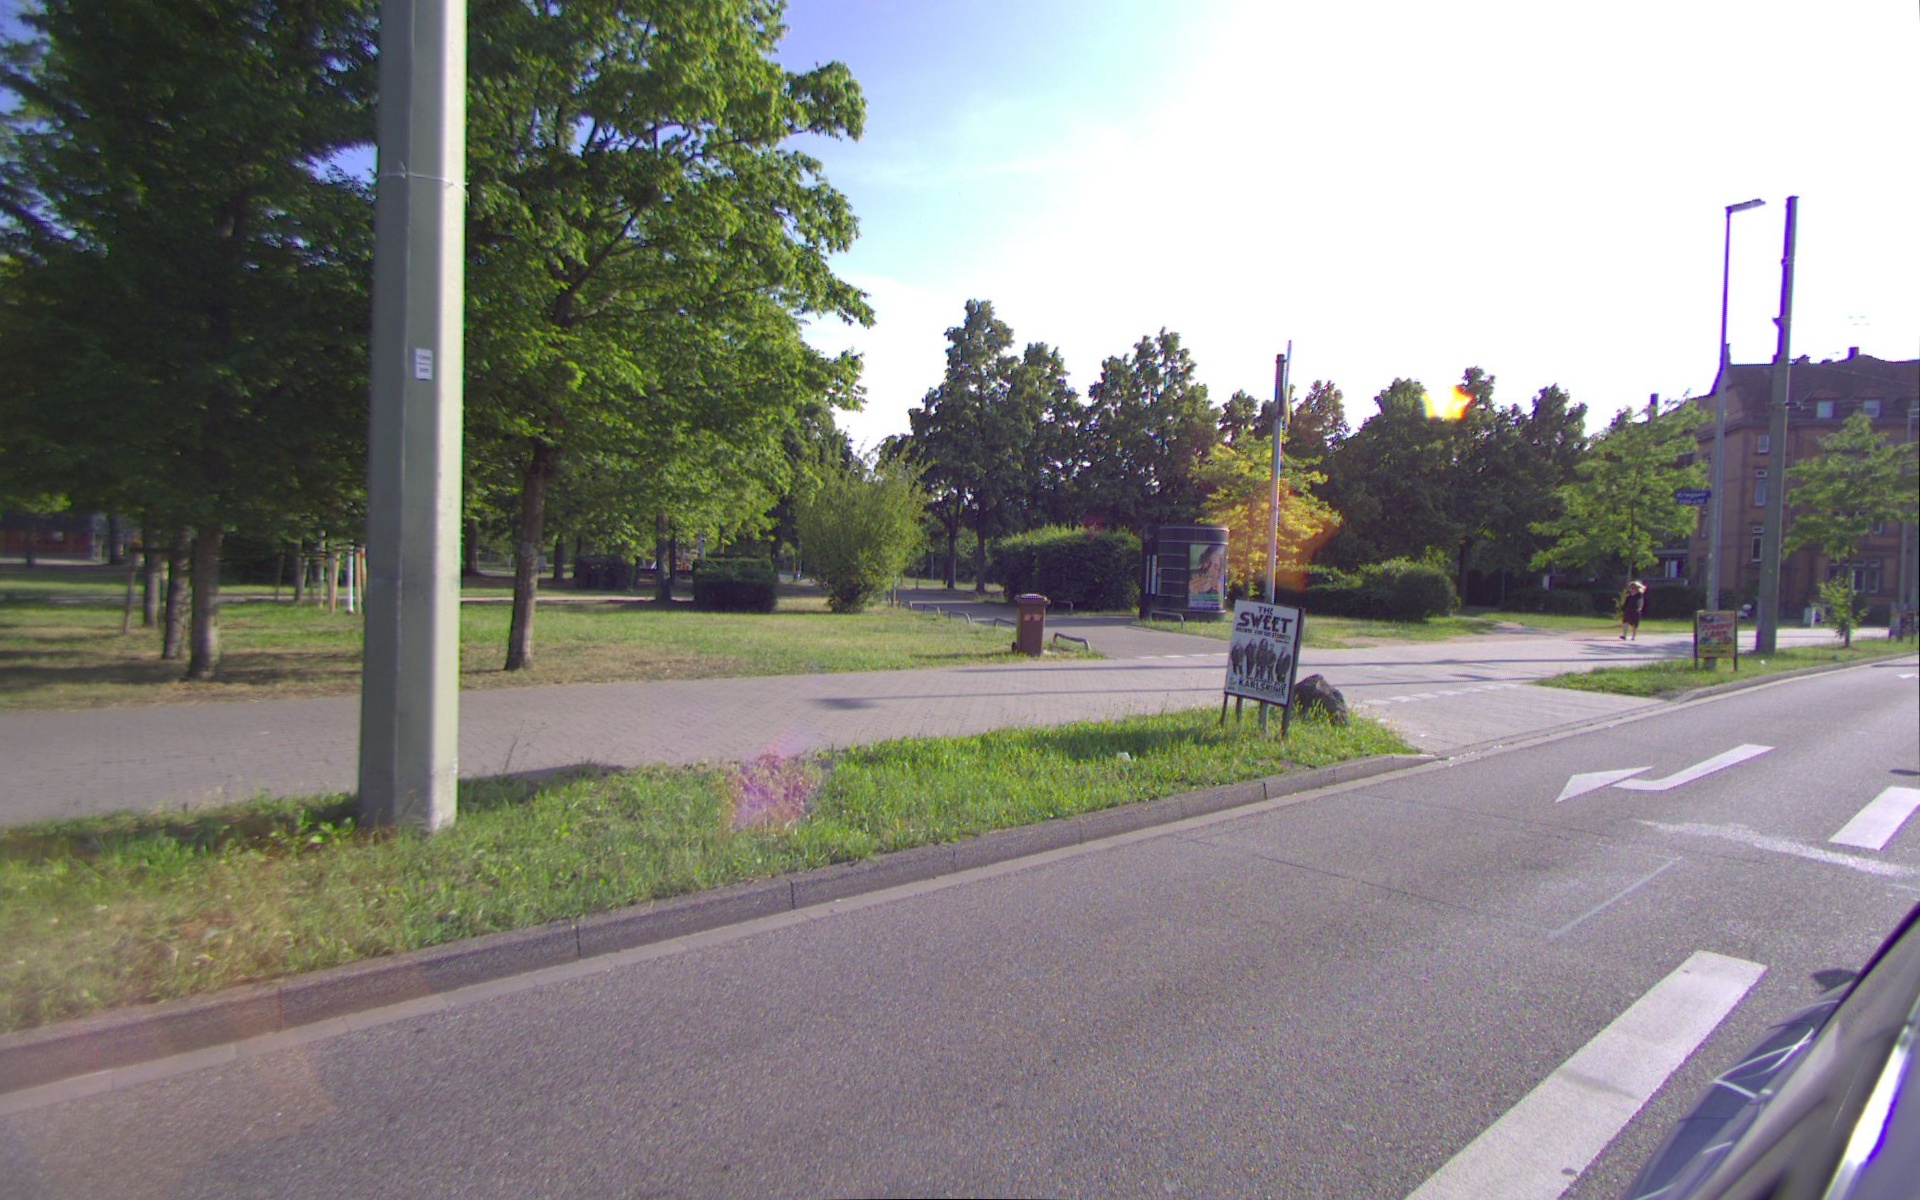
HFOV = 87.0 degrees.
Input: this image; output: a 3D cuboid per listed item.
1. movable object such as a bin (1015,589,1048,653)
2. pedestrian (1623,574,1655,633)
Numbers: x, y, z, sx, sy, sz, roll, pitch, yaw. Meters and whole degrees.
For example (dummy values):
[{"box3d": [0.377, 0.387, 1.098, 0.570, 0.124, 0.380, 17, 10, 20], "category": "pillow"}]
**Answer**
[{"box3d": [1.089, 0.306, 15.456, 0.447, 0.929, 0.605, 2, 2, 1], "category": "movable object such as a bin"}, {"box3d": [19.645, 0.097, 29.288, 0.607, 1.706, 0.621, 1, 0, -40], "category": "pedestrian"}]
